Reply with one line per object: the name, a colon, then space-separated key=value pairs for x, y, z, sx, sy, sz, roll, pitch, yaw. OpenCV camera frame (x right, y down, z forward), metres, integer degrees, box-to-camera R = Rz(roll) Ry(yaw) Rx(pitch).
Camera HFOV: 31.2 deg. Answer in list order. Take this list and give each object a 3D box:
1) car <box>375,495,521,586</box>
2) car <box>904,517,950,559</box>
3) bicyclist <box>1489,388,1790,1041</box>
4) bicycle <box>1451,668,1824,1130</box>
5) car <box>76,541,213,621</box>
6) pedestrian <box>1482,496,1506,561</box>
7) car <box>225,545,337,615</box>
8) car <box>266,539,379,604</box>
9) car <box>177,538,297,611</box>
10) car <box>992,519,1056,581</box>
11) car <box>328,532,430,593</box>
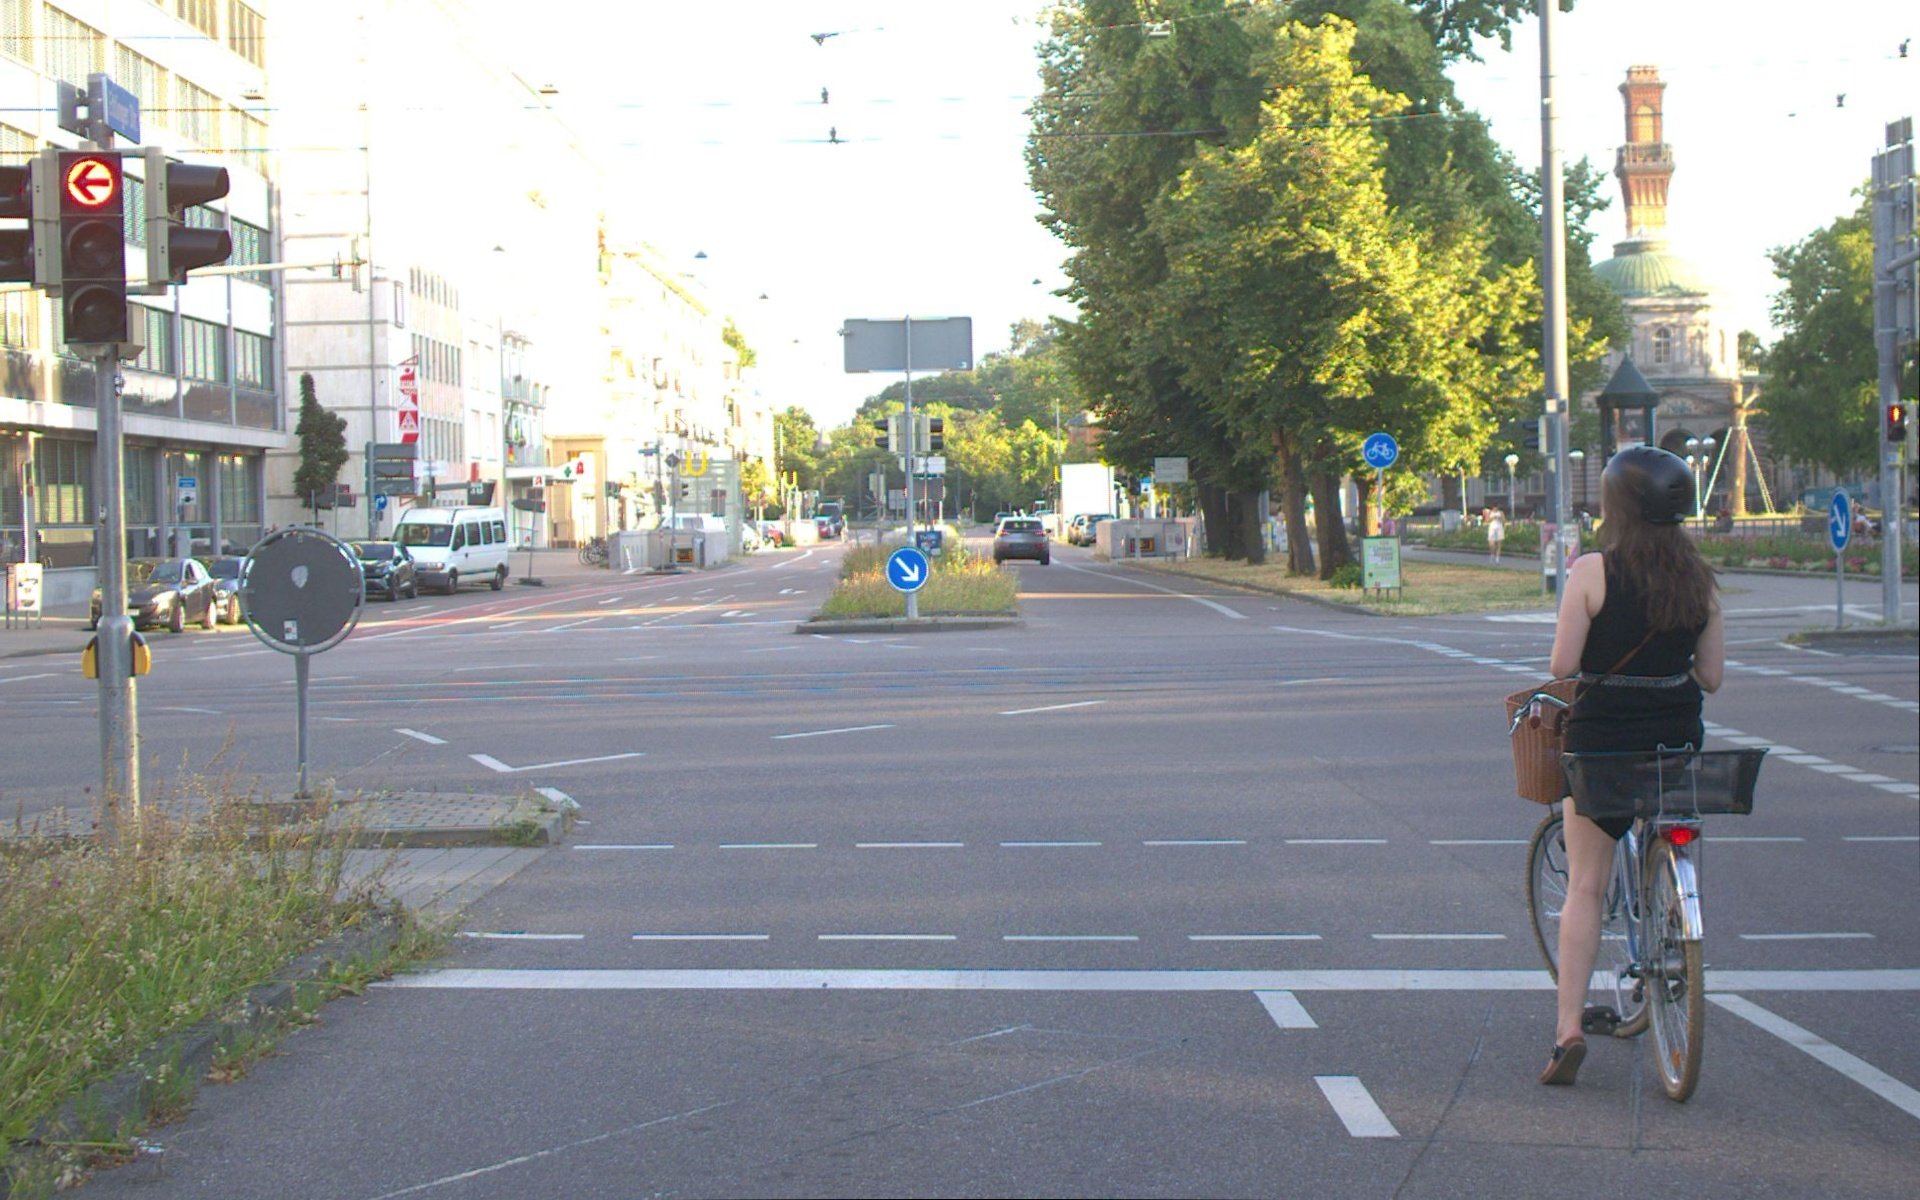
car: x=-14.621 y=-1.662 z=98.503 sx=2.178 sy=2.377 sz=5.986 roll=-2 pitch=-1 yaw=12
car: x=-1.510 y=-2.831 z=155.755 sx=1.993 sy=1.809 sz=4.000 roll=-1 pitch=1 yaw=-1
bicyclist: x=1.827 y=0.291 z=9.323 sx=0.628 sy=1.687 sz=0.748 roll=-1 pitch=1 yaw=0
bicycle: x=1.844 y=0.771 z=9.648 sx=0.637 sy=1.065 sz=2.069 roll=0 pitch=1 yaw=0
car: x=-16.268 y=-0.348 z=68.751 sx=1.796 sy=1.470 sz=4.000 roll=-1 pitch=-1 yaw=-1
pedestrian: x=13.744 y=-1.832 z=88.464 sx=0.508 sy=1.663 sz=0.531 roll=-1 pitch=1 yaw=-1
car: x=-15.655 y=-0.451 z=79.444 sx=1.796 sy=1.470 sz=4.000 roll=-1 pitch=-1 yaw=-1
car: x=-15.832 y=-0.691 z=85.532 sx=1.796 sy=1.470 sz=3.999 roll=-1 pitch=-1 yaw=4
car: x=-15.726 y=-0.532 z=74.964 sx=1.796 sy=1.470 sz=4.000 roll=-1 pitch=-1 yaw=-1
car: x=2.134 y=-1.709 z=115.588 sx=1.993 sy=2.007 sz=4.000 roll=-1 pitch=1 yaw=-1
car: x=-15.506 y=-0.987 z=91.927 sx=1.796 sy=1.470 sz=3.999 roll=-1 pitch=-1 yaw=3
